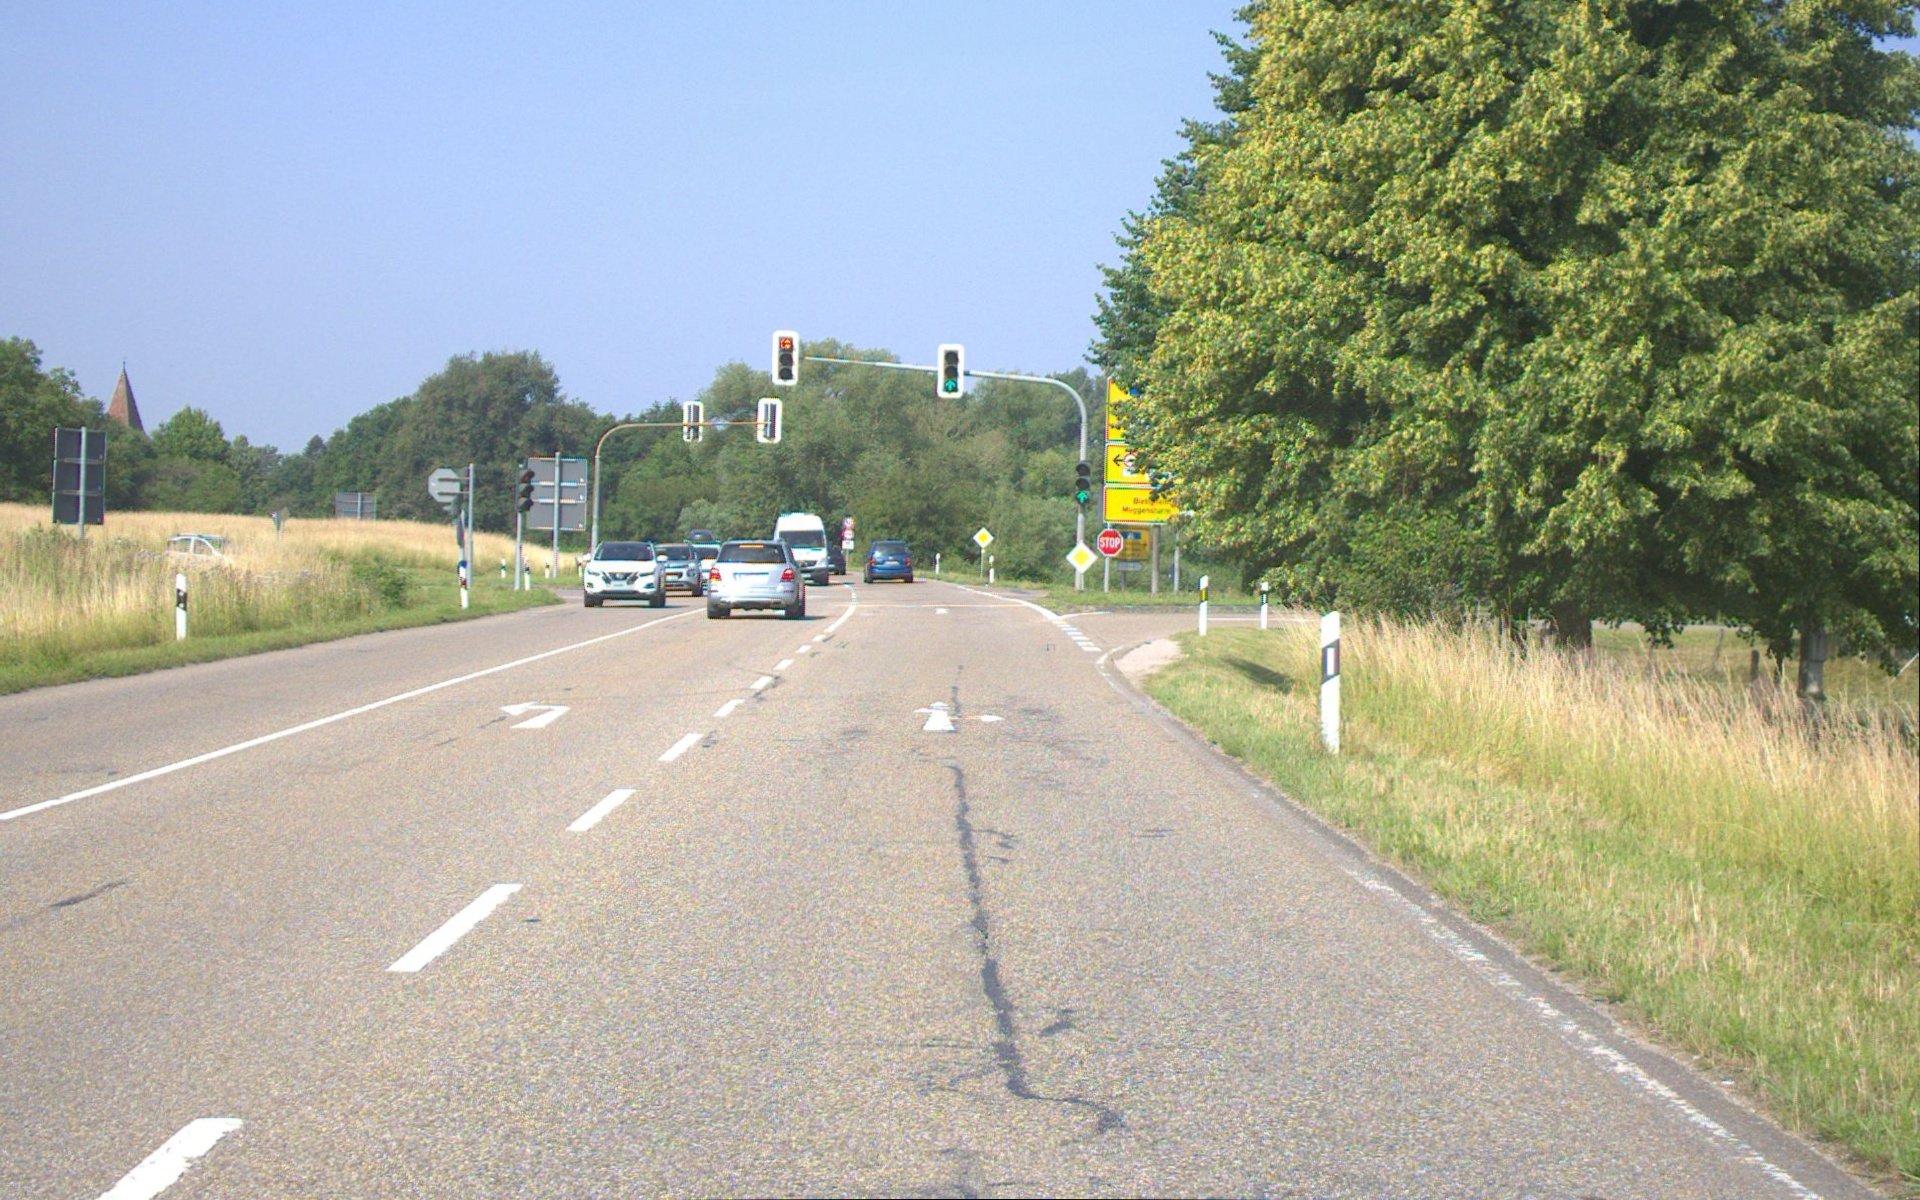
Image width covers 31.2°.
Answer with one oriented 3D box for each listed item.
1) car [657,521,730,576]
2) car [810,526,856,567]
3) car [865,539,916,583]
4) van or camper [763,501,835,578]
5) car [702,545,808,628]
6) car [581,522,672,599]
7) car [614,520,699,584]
[{"bbox_3d":[-9.043,-1.768,117.069,1.933,1.722,4.000,4,1,2],"label":"car"},{"bbox_3d":[-6.019,-2.566,163.939,1.993,1.809,4.000,4,1,-1],"label":"car"},{"bbox_3d":[-2.672,-1.519,132.762,1.816,1.515,4.000,4,1,-1],"label":"car"},{"bbox_3d":[-6.026,-2.296,129.451,2.265,2.700,5.262,4,1,0],"label":"van or camper"},{"bbox_3d":[-4.178,-0.300,70.623,1.899,1.506,4.000,4,1,-1],"label":"car"},{"bbox_3d":[-8.062,-0.969,83.367,1.592,1.722,4.000,4,1,2],"label":"car"},{"bbox_3d":[-9.027,-1.447,102.500,1.933,1.722,4.000,4,1,2],"label":"car"}]
